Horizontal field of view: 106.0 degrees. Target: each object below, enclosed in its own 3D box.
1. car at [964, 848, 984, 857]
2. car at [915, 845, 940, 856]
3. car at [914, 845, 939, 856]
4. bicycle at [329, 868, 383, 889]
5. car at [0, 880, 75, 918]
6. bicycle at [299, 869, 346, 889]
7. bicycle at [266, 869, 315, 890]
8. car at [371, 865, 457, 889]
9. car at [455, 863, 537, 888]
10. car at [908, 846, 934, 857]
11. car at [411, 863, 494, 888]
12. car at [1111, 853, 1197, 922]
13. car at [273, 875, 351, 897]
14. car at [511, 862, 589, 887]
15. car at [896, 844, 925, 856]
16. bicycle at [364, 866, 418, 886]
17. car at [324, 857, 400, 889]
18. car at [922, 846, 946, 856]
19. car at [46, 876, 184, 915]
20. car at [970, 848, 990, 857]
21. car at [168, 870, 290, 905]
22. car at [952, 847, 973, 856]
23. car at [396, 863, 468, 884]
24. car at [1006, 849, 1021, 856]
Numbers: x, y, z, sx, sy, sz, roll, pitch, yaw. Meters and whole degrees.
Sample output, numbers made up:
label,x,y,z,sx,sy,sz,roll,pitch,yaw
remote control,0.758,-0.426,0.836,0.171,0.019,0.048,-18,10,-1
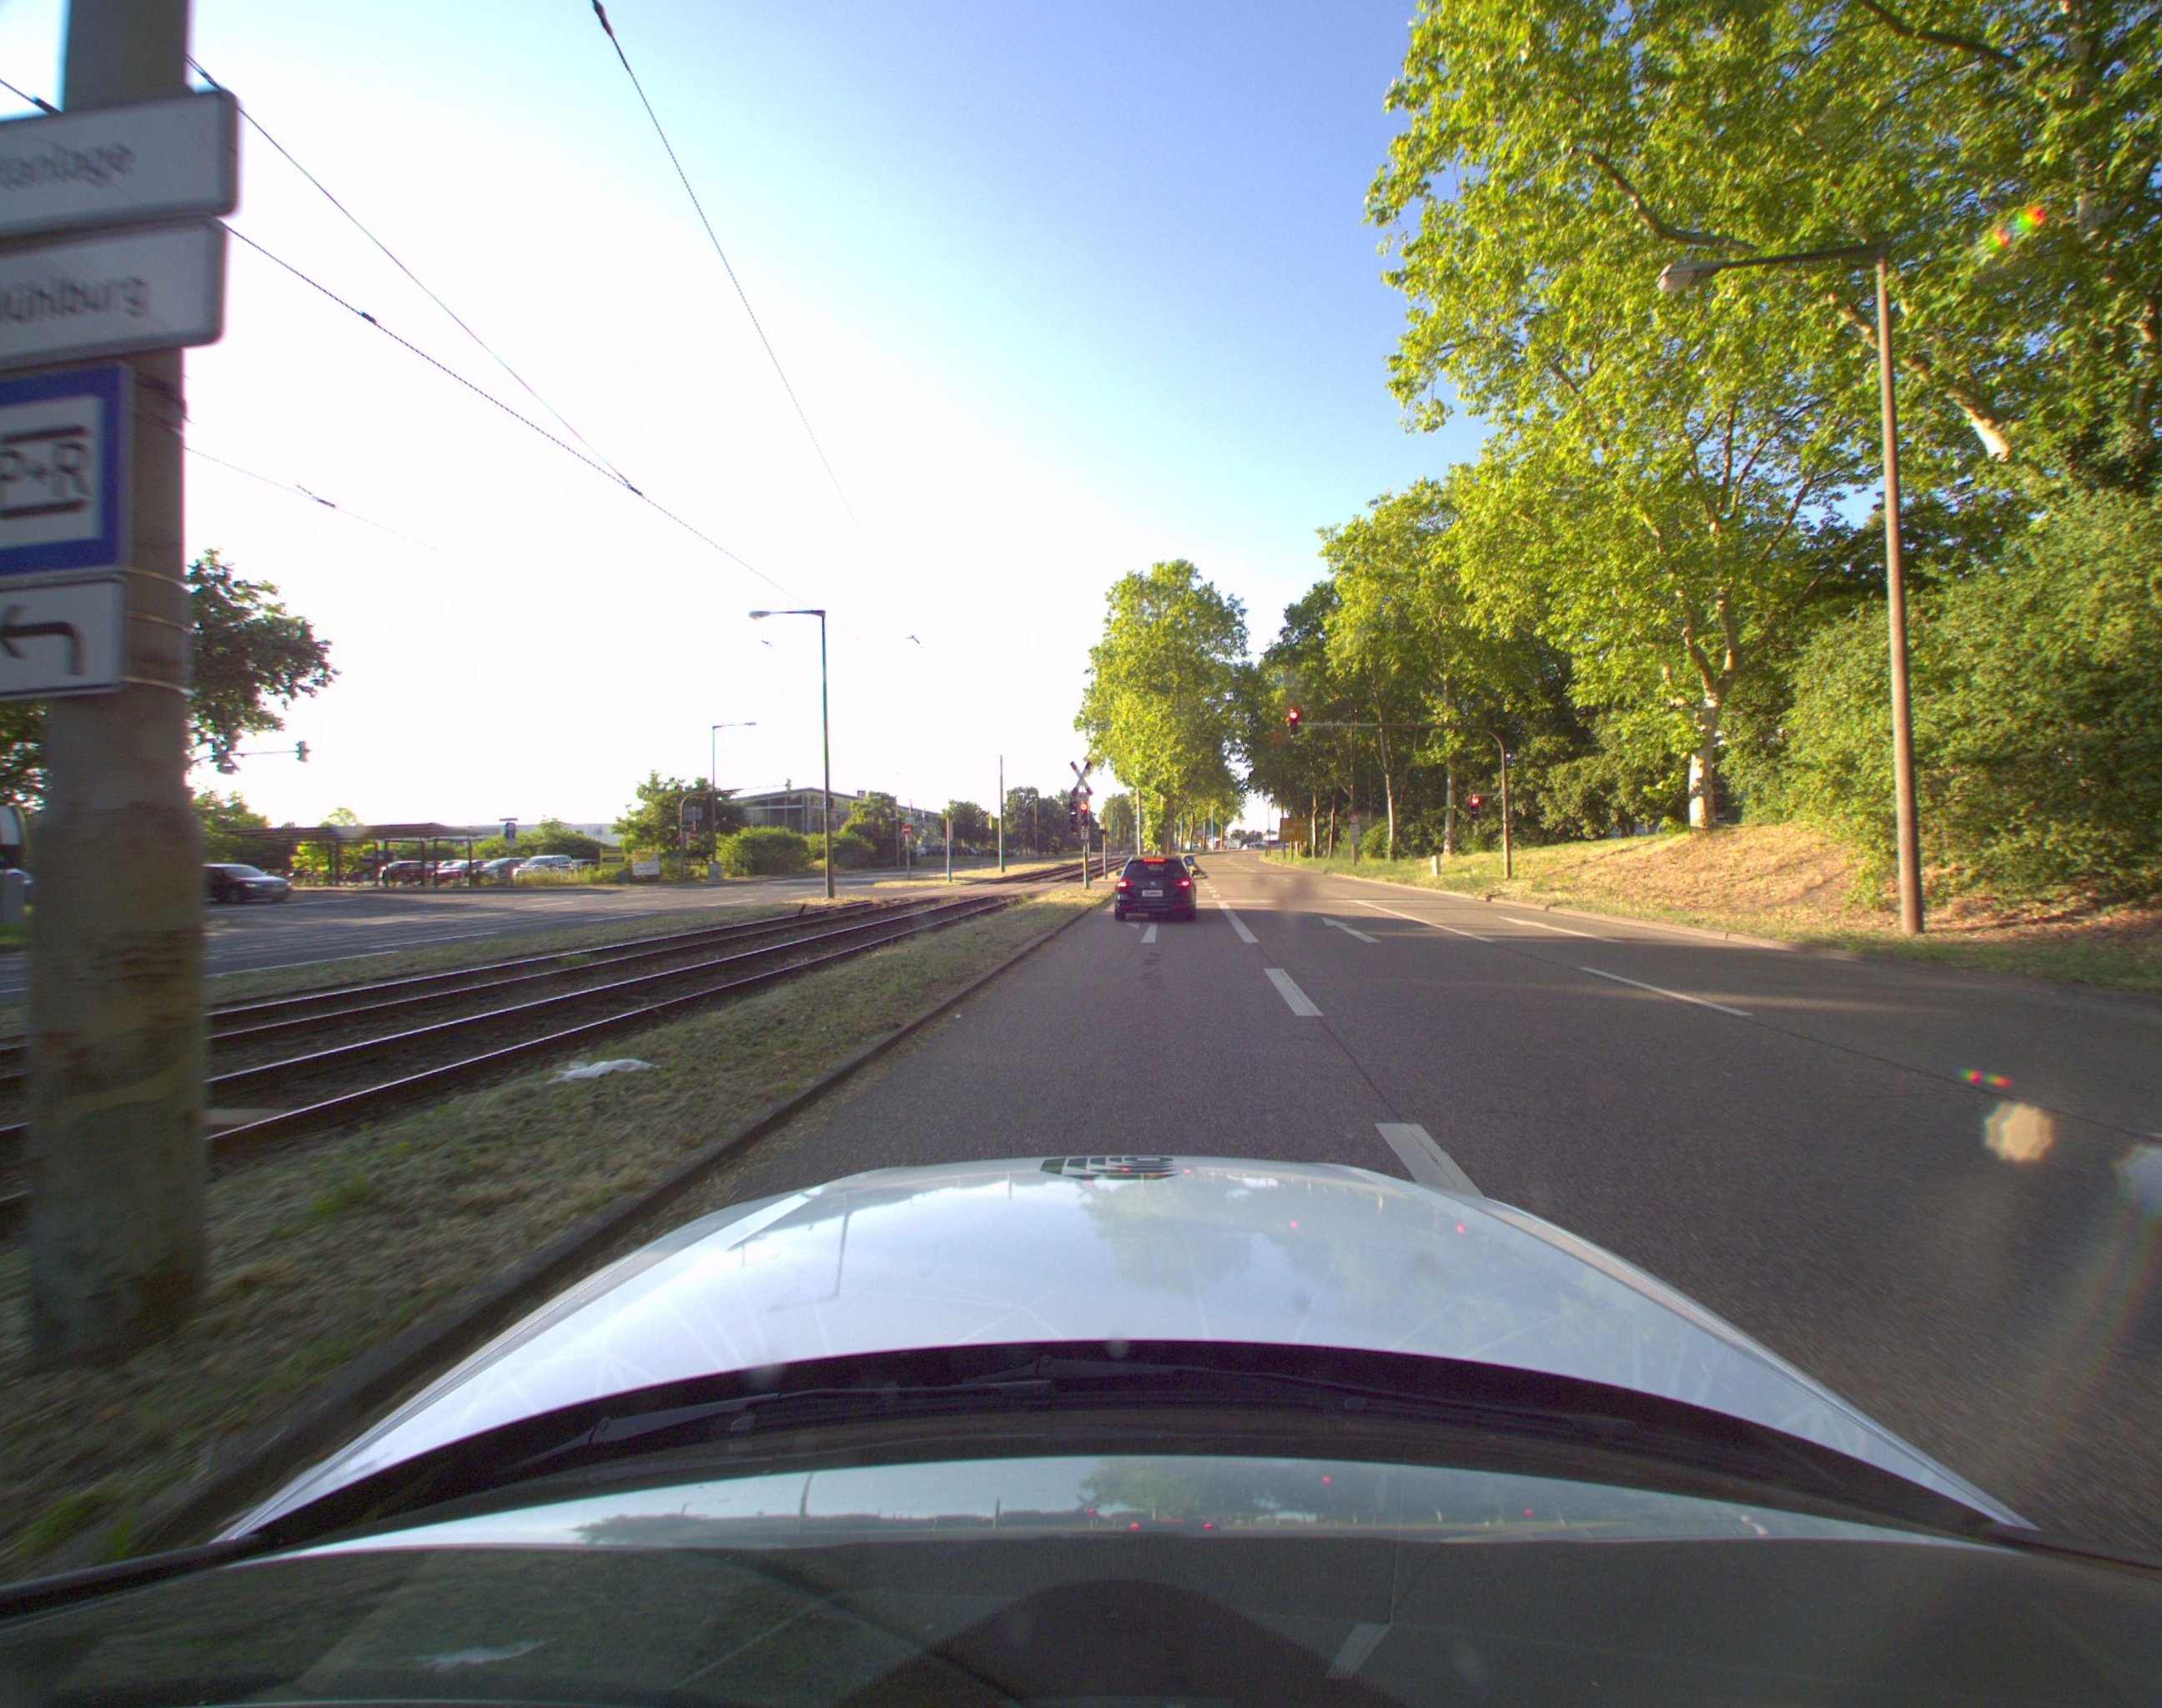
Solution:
label,x,y,z,sx,sy,sz,roll,pitch,yaw
car,-18.008,-0.271,137.182,3.129,1.490,1.457,-1,0,3
car,-21.820,-0.511,115.827,3.129,1.490,1.457,-1,0,3
car,-21.532,-0.503,113.346,3.129,1.490,1.457,-1,0,3
bicycle,-40.886,1.368,45.962,0.659,1.065,2.206,-1,0,37
car,-42.841,1.760,32.351,4.032,1.387,1.788,-1,0,8
bicycle,-42.812,1.386,45.980,0.664,1.065,2.190,-1,0,-3
bicycle,-44.081,1.407,45.453,0.664,1.065,2.190,-1,0,-3
car,-42.967,1.450,52.568,1.830,1.442,4.011,-1,0,10
car,-36.738,1.346,51.255,1.830,1.442,4.011,-1,0,10
car,-21.448,-0.365,109.474,3.129,1.490,1.457,-1,0,3
car,-39.979,1.340,51.915,1.830,1.442,4.011,-1,0,10
car,1.781,0.701,18.814,1.782,1.403,3.697,-1,0,8
car,-58.614,2.418,62.190,1.830,1.442,4.011,-1,0,10
car,-33.427,1.284,51.371,1.830,1.442,4.011,-1,0,10
car,-20.450,-0.427,97.721,3.129,1.391,1.457,-1,0,3
bicycle,-38.156,1.208,45.093,0.660,1.065,2.205,-1,0,24
car,-54.127,1.402,61.421,1.830,2.242,4.011,-1,0,10
car,-21.464,-0.462,118.812,3.129,1.490,1.457,-1,0,3
car,-37.552,1.604,31.674,4.027,1.387,1.790,-1,0,13
car,-17.471,-0.196,140.529,3.129,1.490,1.457,-1,0,3
car,-36.496,1.413,34.925,4.027,1.387,1.790,-1,0,13
car,-19.554,-0.450,134.203,3.129,1.490,1.457,-1,0,3
car,-48.703,1.466,61.206,1.830,1.442,4.011,-1,0,10
car,-15.057,-0.331,182.823,3.129,1.490,1.457,-1,0,3
